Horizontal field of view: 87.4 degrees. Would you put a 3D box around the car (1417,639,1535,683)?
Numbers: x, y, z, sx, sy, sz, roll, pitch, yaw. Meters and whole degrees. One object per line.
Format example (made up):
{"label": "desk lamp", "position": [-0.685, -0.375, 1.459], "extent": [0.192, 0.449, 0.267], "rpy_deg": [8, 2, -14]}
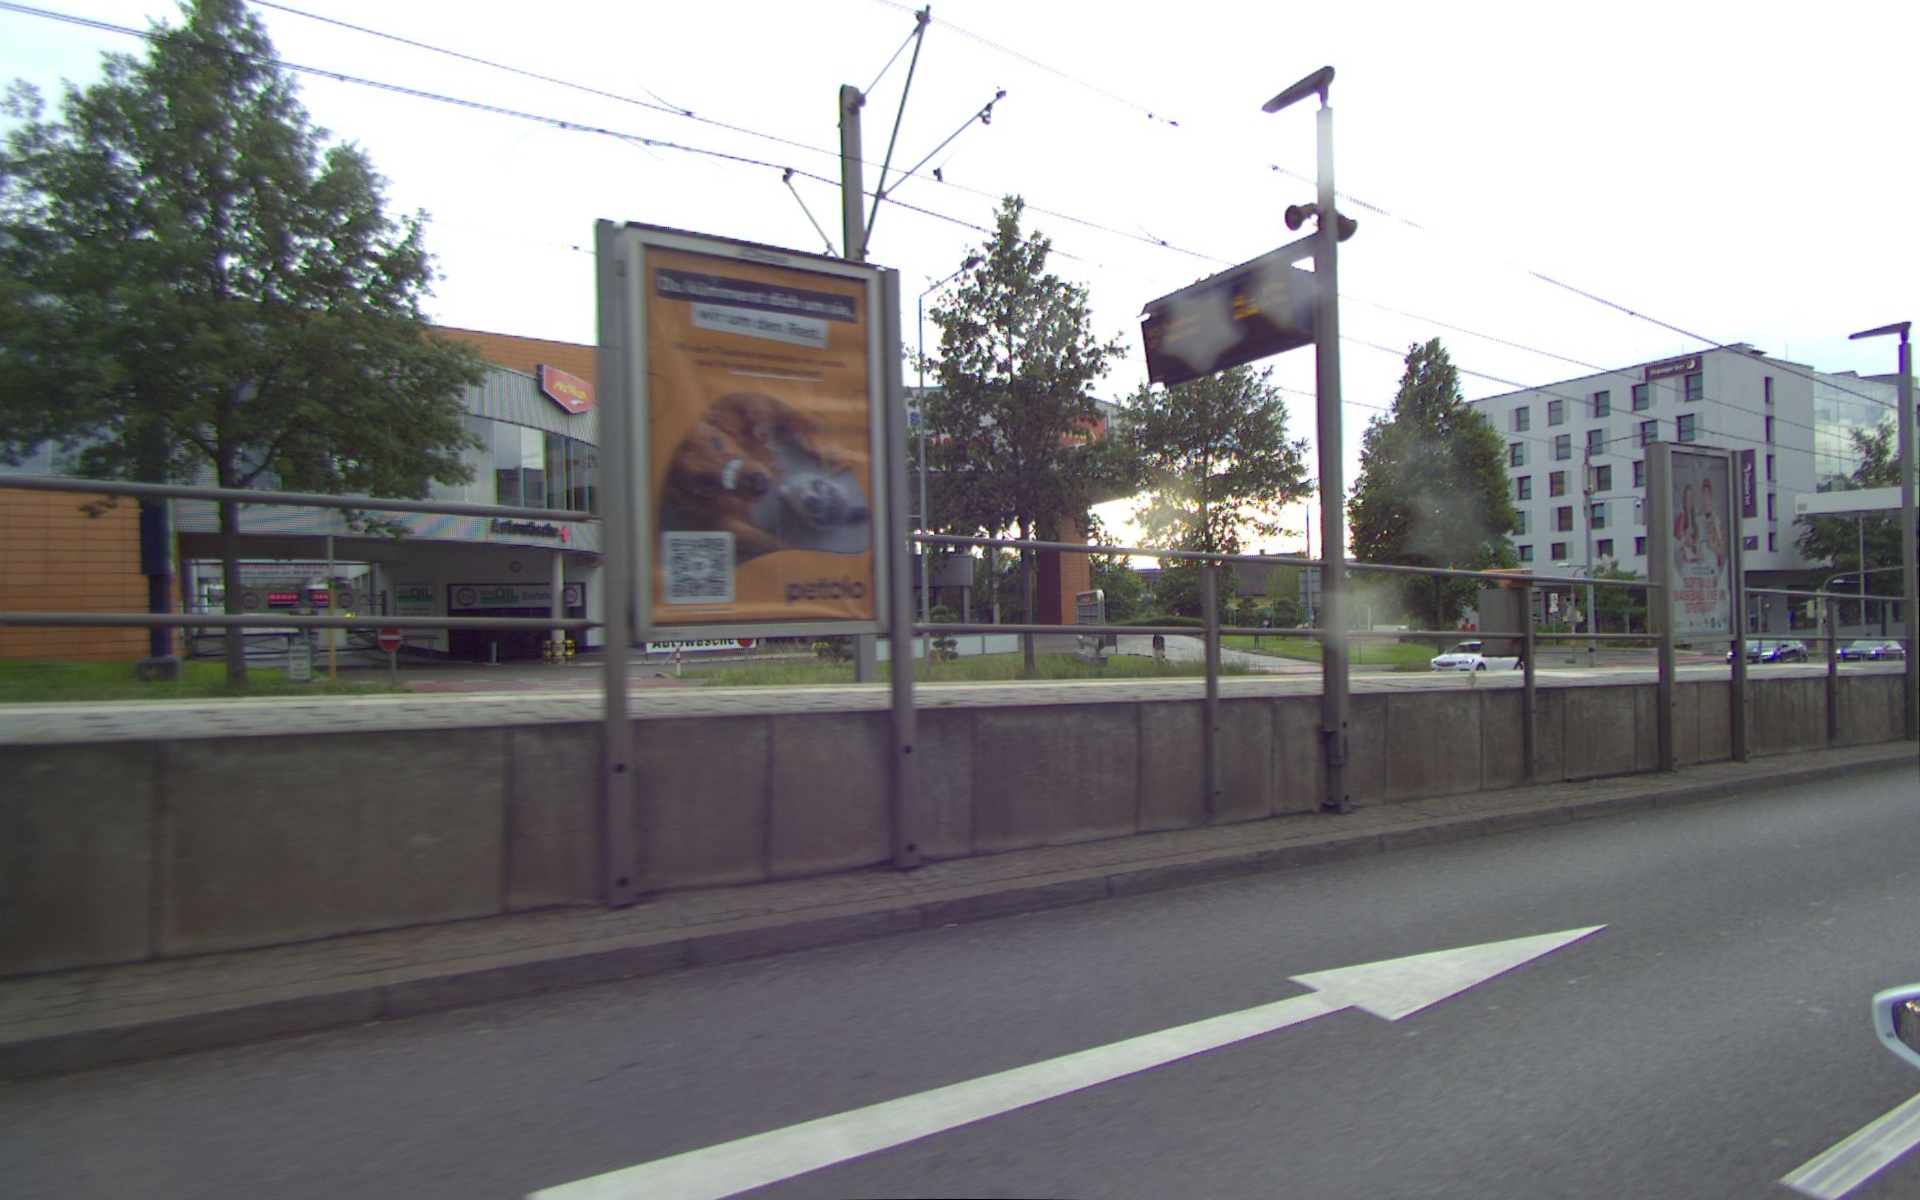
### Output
{"label": "car", "position": [20.033, 2.329, 38.973], "extent": [4.656, 1.538, 1.982], "rpy_deg": [2, 0, -32]}

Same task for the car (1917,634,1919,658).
{"label": "car", "position": [58.743, 2.733, 59.760], "extent": [3.736, 1.442, 1.720], "rpy_deg": [1, -1, -31]}

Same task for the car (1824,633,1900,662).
{"label": "car", "position": [47.110, 2.459, 52.460], "extent": [4.341, 1.446, 1.843], "rpy_deg": [1, -3, -33]}

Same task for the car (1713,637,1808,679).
{"label": "car", "position": [36.491, 2.592, 45.786], "extent": [4.337, 1.798, 1.984], "rpy_deg": [1, -1, -30]}
